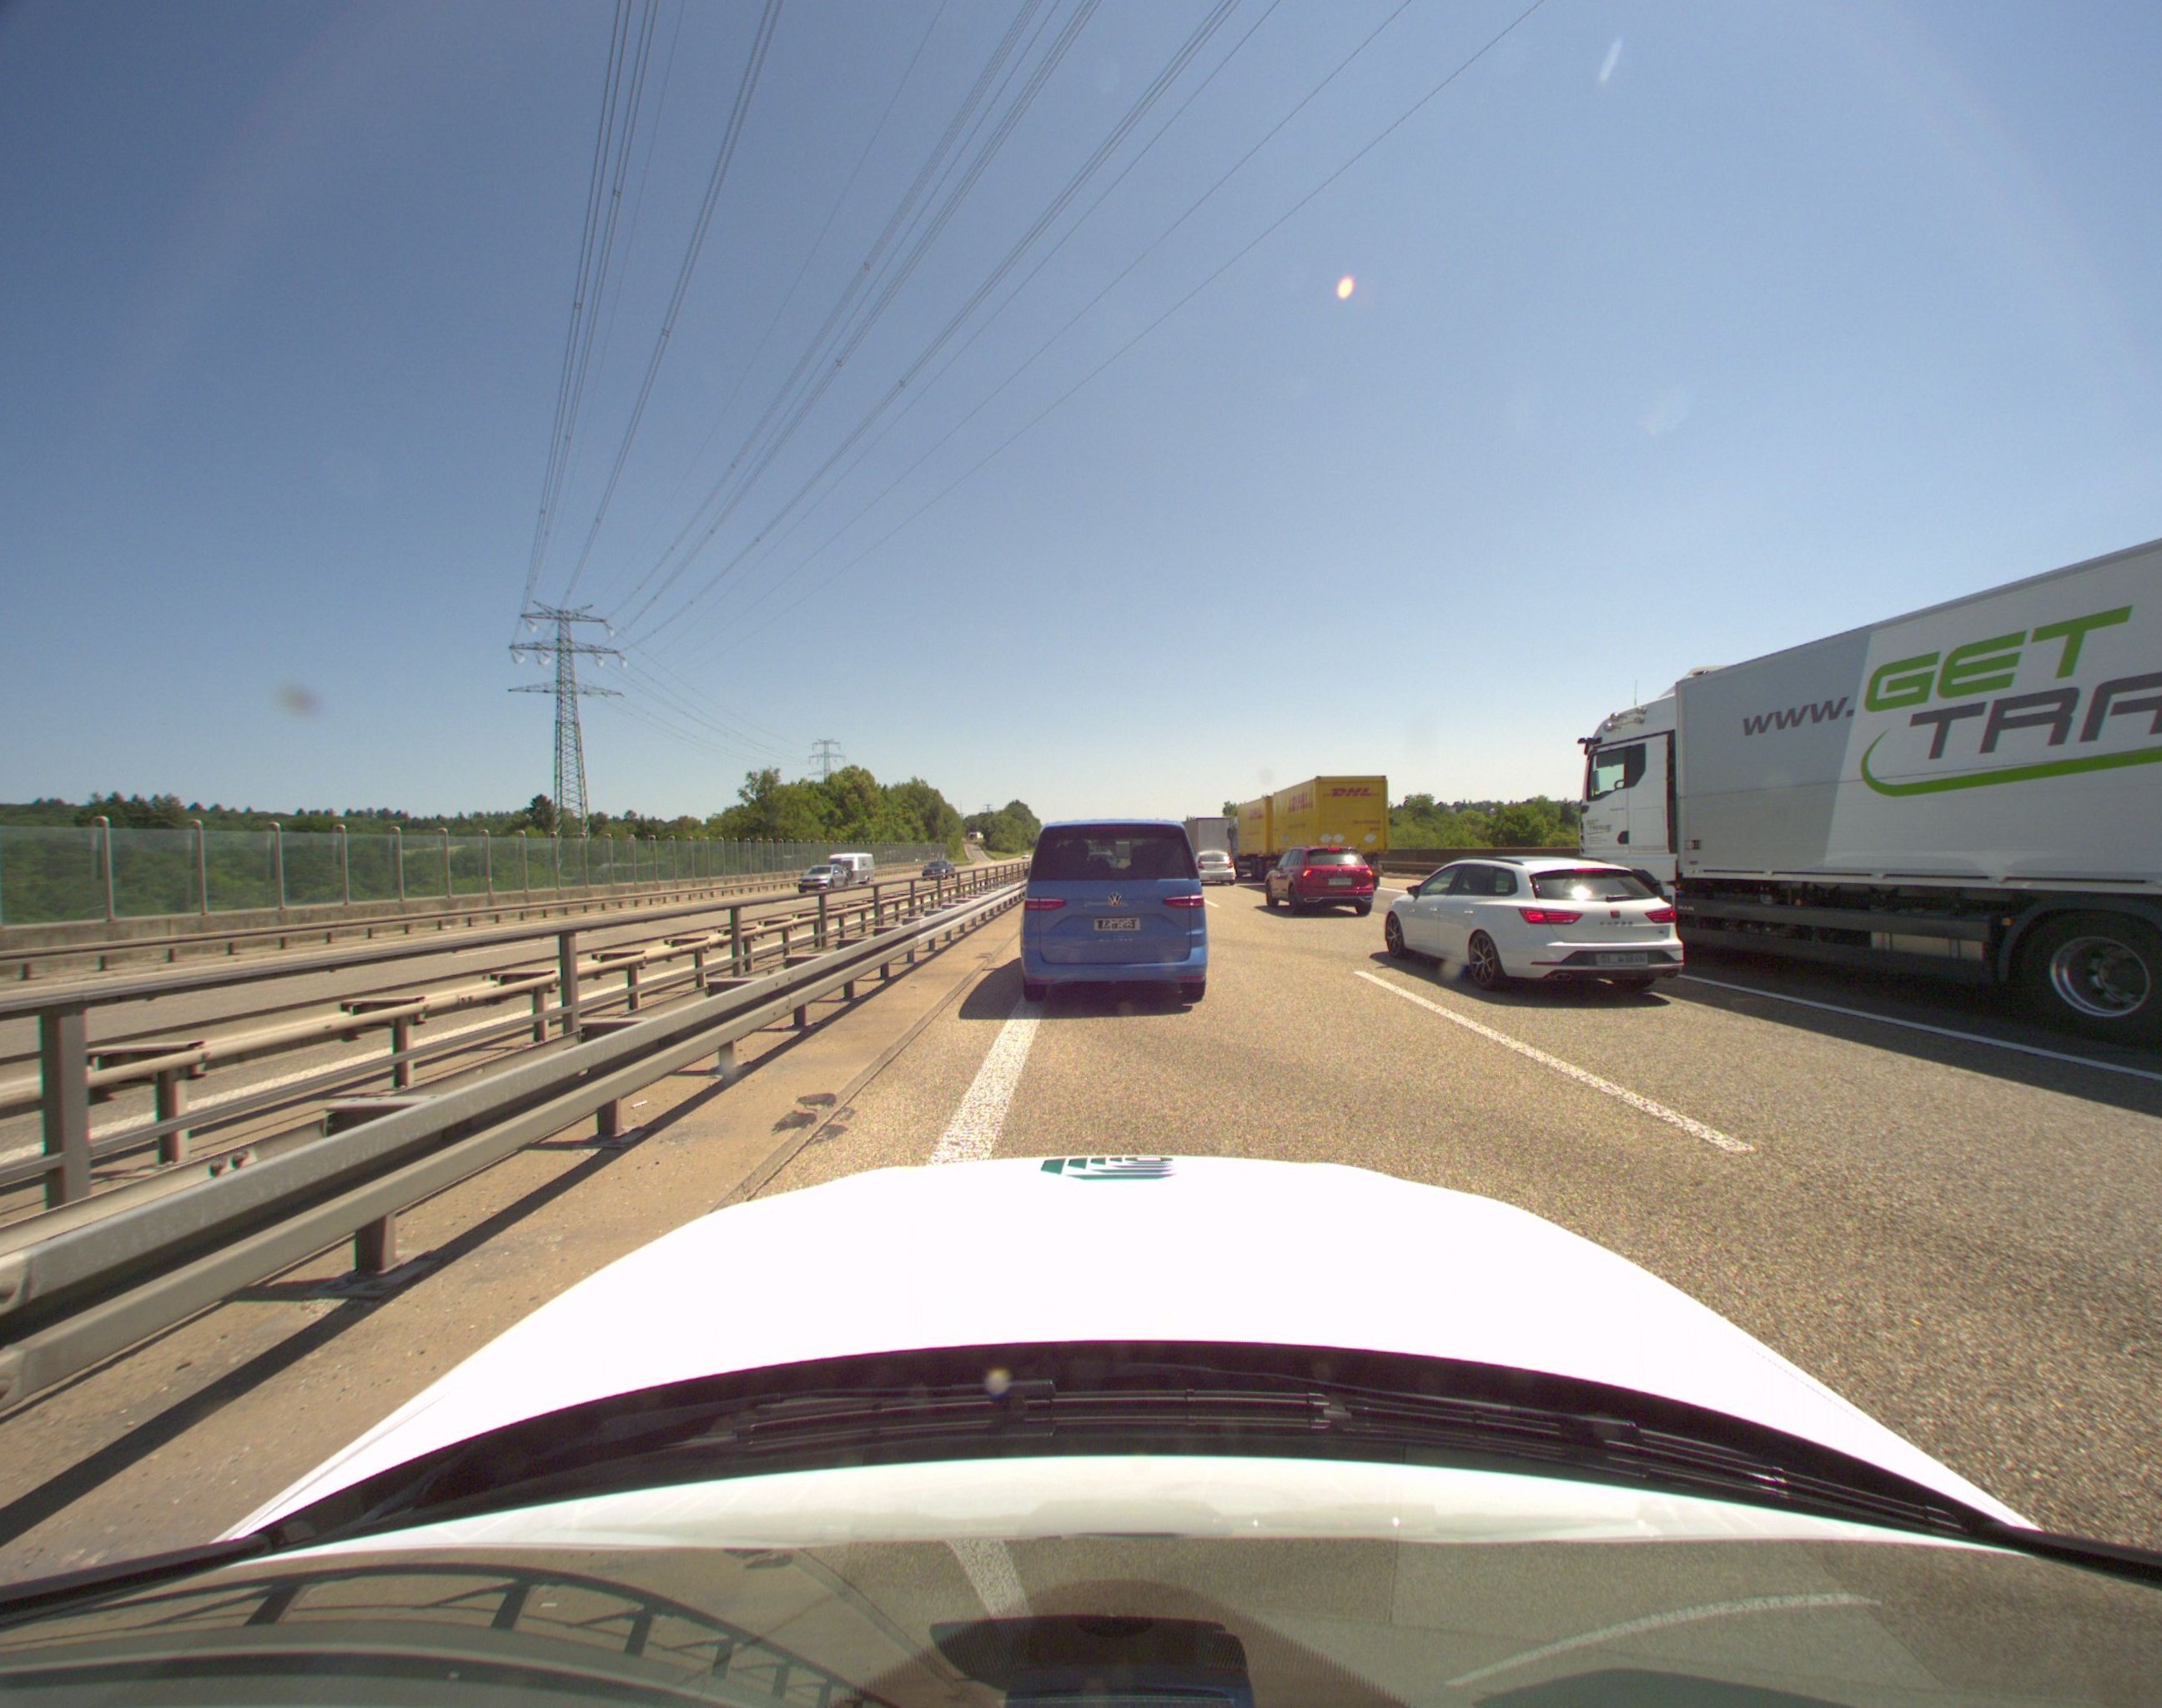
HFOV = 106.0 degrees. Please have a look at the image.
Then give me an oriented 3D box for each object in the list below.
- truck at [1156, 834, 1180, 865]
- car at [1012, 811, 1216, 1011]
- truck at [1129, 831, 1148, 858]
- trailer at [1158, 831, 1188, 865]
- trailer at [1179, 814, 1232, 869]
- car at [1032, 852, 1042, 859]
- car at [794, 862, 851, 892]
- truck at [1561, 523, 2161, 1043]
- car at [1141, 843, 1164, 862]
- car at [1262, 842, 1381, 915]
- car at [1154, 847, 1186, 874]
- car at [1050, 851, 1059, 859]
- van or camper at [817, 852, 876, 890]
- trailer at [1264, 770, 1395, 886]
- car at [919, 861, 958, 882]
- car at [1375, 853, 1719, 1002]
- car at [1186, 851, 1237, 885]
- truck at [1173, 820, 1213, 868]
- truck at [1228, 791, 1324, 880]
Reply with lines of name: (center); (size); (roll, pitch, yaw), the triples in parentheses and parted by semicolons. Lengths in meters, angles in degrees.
truck: (10.907, -0.541, 102.357); (2.359, 3.722, 6.034); (0, -1, 1)
car: (0.360, 0.533, 9.635); (1.875, 1.837, 4.001); (-1, 0, 1)
truck: (11.365, -1.796, 161.906); (2.824, 5.040, 11.143); (0, -1, 0)
trailer: (10.831, -0.603, 96.752); (2.371, 3.744, 11.189); (0, -1, 1)
trailer: (10.023, -0.878, 66.742); (2.745, 4.146, 11.311); (0, -1, 1)
car: (-9.653, 0.304, 178.333); (1.794, 1.386, 4.264); (0, -1, 1)
car: (-15.074, 1.318, 47.677); (1.850, 1.545, 4.201); (-4, -1, 1)
truck: (8.934, -0.508, 7.462); (2.841, 3.602, 10.770); (0, 0, 1)
car: (6.272, -0.096, 71.719); (1.709, 1.540, 3.822); (-3, 0, 1)
car: (5.818, 0.547, 20.165); (1.844, 1.608, 4.001); (-1, 0, 1)
car: (5.533, 0.434, 50.984); (1.709, 1.587, 3.822); (-1, -1, 1)
car: (-5.920, 0.202, 183.456); (1.834, 1.529, 3.559); (-3, 0, 1)
van or camper: (-15.040, 1.051, 52.582); (1.987, 2.211, 5.537); (-4, -1, 1)
trailer: (9.612, -0.866, 32.711); (2.692, 4.023, 8.932); (0, -1, 1)
car: (-10.586, 1.259, 60.882); (1.849, 1.397, 4.677); (-4, -1, 2)
car: (5.165, 0.693, 9.798); (1.775, 1.387, 4.188); (-1, 0, 0)
car: (5.824, 0.578, 36.752); (1.831, 1.414, 4.003); (-1, 0, 3)
truck: (10.121, -0.840, 74.069); (2.759, 4.095, 6.984); (0, 0, 1)
truck: (9.821, -0.803, 42.358); (2.712, 4.054, 10.338); (0, -1, 1)
